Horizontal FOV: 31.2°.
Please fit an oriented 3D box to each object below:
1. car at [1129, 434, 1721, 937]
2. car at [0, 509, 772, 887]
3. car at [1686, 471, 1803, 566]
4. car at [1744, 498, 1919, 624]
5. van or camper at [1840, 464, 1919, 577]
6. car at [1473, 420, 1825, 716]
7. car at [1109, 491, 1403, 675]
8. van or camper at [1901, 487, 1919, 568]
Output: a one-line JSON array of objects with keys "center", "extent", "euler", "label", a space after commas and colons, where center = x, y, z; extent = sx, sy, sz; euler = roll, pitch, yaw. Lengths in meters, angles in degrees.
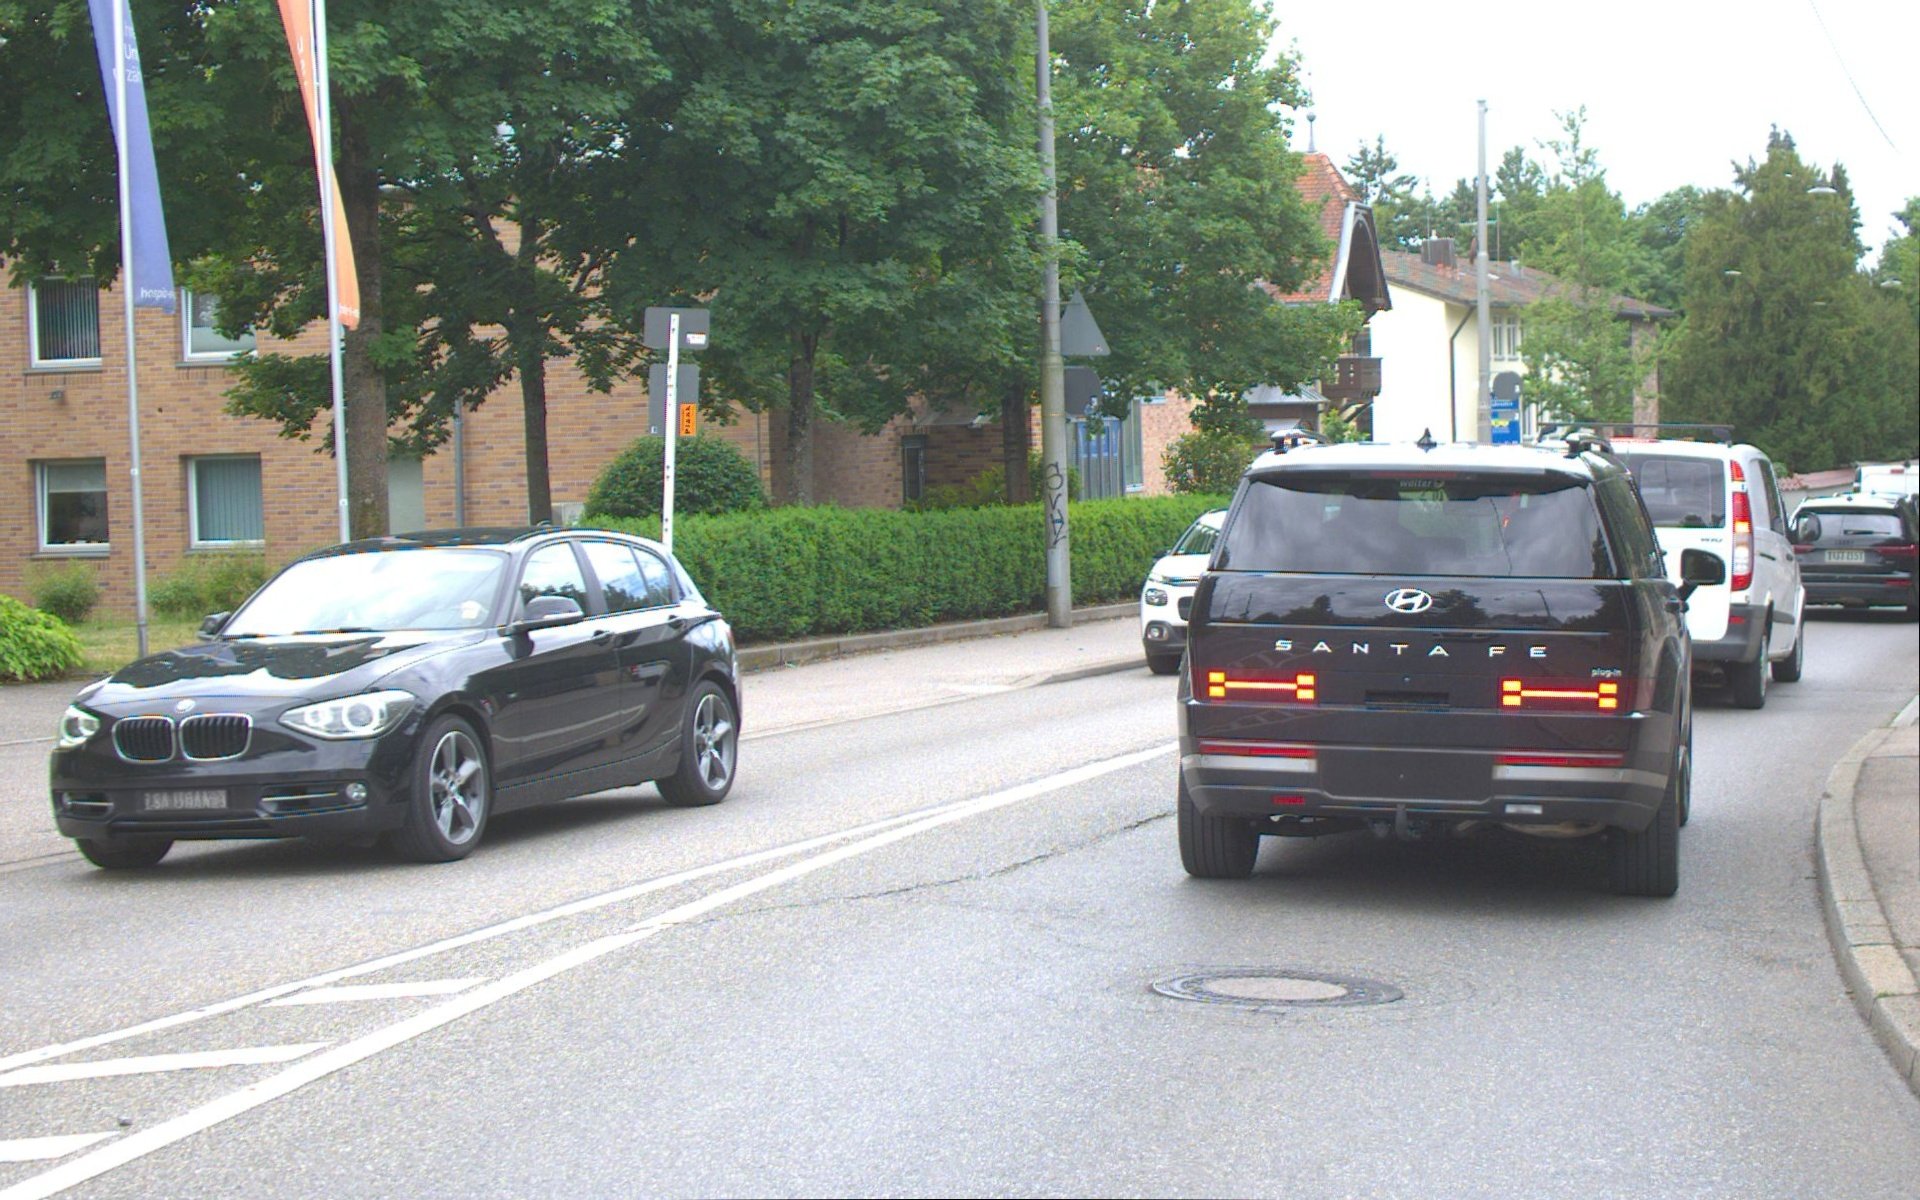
[{"center": [2.079, 0.196, 14.230], "extent": [1.958, 1.707, 4.221], "euler": [2, 3, 14], "label": "car"}, {"center": [-2.513, 0.365, 15.676], "extent": [1.764, 1.403, 3.997], "euler": [-3, 1, 21], "label": "car"}, {"center": [16.015, -1.632, 70.061], "extent": [1.995, 1.810, 3.996], "euler": [0, -1, 18], "label": "car"}, {"center": [10.703, -0.501, 41.046], "extent": [1.996, 1.399, 3.996], "euler": [-1, 1, 22], "label": "car"}, {"center": [16.618, -1.434, 60.073], "extent": [1.995, 1.881, 3.997], "euler": [-2, 2, 19], "label": "van or camper"}, {"center": [5.244, -0.334, 25.744], "extent": [1.959, 1.949, 4.220], "euler": [3, 4, 19], "label": "car"}, {"center": [2.743, -0.195, 31.071], "extent": [1.697, 1.435, 3.754], "euler": [-4, 1, 19], "label": "car"}, {"center": [21.002, -1.586, 72.732], "extent": [1.995, 1.623, 3.998], "euler": [-2, 2, 14], "label": "van or camper"}]
